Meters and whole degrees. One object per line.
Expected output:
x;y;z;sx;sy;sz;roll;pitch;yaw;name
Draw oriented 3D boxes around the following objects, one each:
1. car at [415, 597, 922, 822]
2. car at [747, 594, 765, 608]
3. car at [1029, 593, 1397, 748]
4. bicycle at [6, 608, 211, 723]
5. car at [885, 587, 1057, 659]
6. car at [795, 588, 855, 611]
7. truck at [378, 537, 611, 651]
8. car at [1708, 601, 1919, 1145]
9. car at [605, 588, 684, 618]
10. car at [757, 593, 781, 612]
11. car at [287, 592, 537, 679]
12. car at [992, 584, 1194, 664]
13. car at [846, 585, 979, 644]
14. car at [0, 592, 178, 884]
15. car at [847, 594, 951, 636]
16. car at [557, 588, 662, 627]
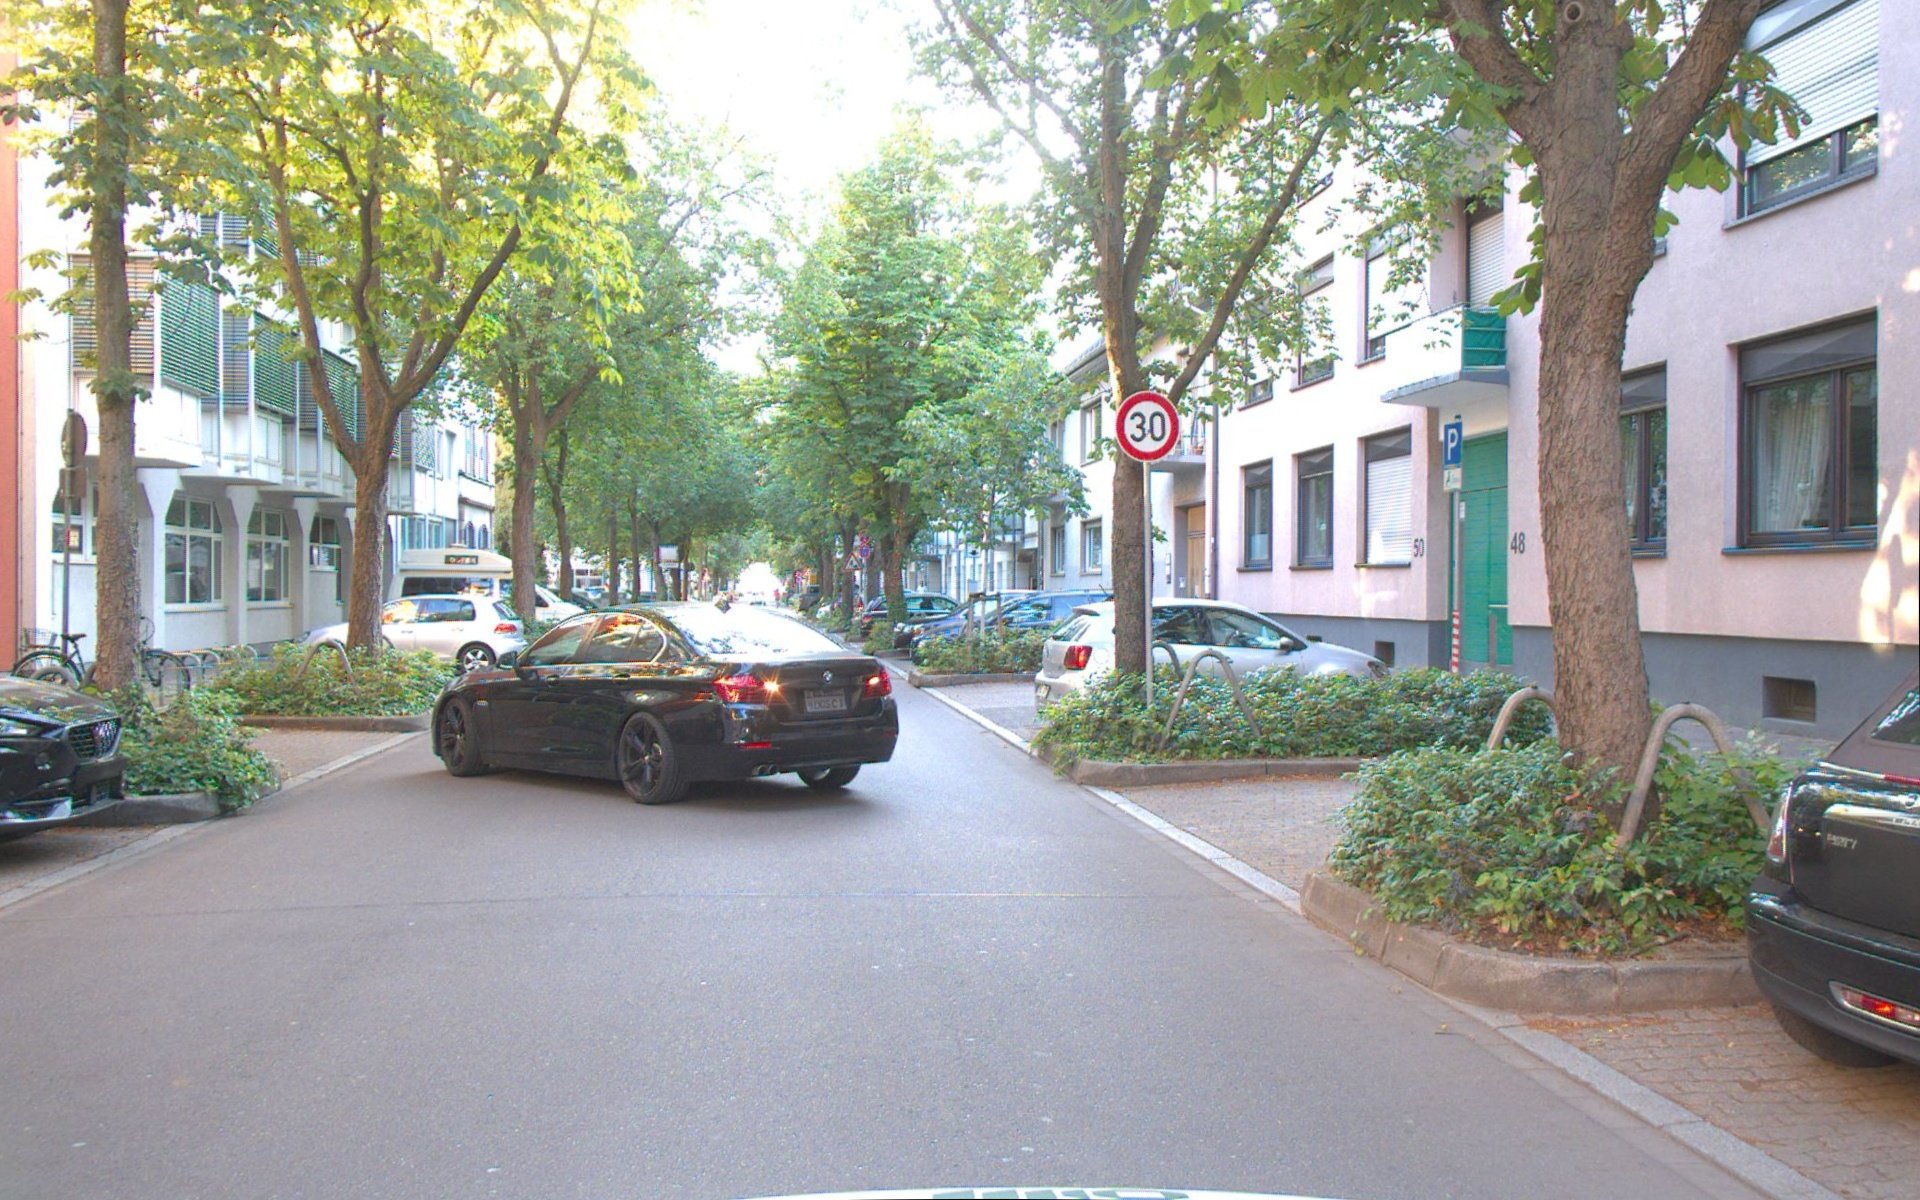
-2.498;0.724;13.284;1.755;1.475;4.591;0;1;-44;car
-21.940;0.069;178.272;1.858;1.500;3.995;0;0;-6;car
2.654;0.706;17.703;3.589;1.505;1.562;-1;0;-9;car
-9.367;0.701;18.261;1.939;1.220;0.499;0;0;-18;bicycle
0.225;0.501;37.892;3.722;1.556;1.562;-1;0;-9;car
-8.363;-0.059;102.192;3.589;1.417;1.562;0;0;-9;car
-10.740;-0.150;38.438;4.903;2.483;1.914;1;1;-6;truck
4.383;0.688;4.947;3.638;1.452;1.622;-3;1;-12;car
-16.548;0.165;86.968;3.945;1.497;1.637;1;0;-7;car
-16.324;0.160;141.065;1.956;1.579;3.994;0;0;-7;car
-9.899;0.631;30.129;4.054;1.497;1.637;1;0;-7;car
2.524;0.436;31.673;3.589;1.417;1.562;-1;0;-9;car
-1.351;0.399;46.630;3.589;1.563;1.562;-1;0;-9;car
-7.071;0.709;9.487;4.274;1.535;1.832;1;0;-7;car
-2.209;0.519;59.558;3.589;1.417;1.562;-1;0;-9;car
-13.945;0.293;66.017;3.945;1.497;1.637;1;0;-7;car
